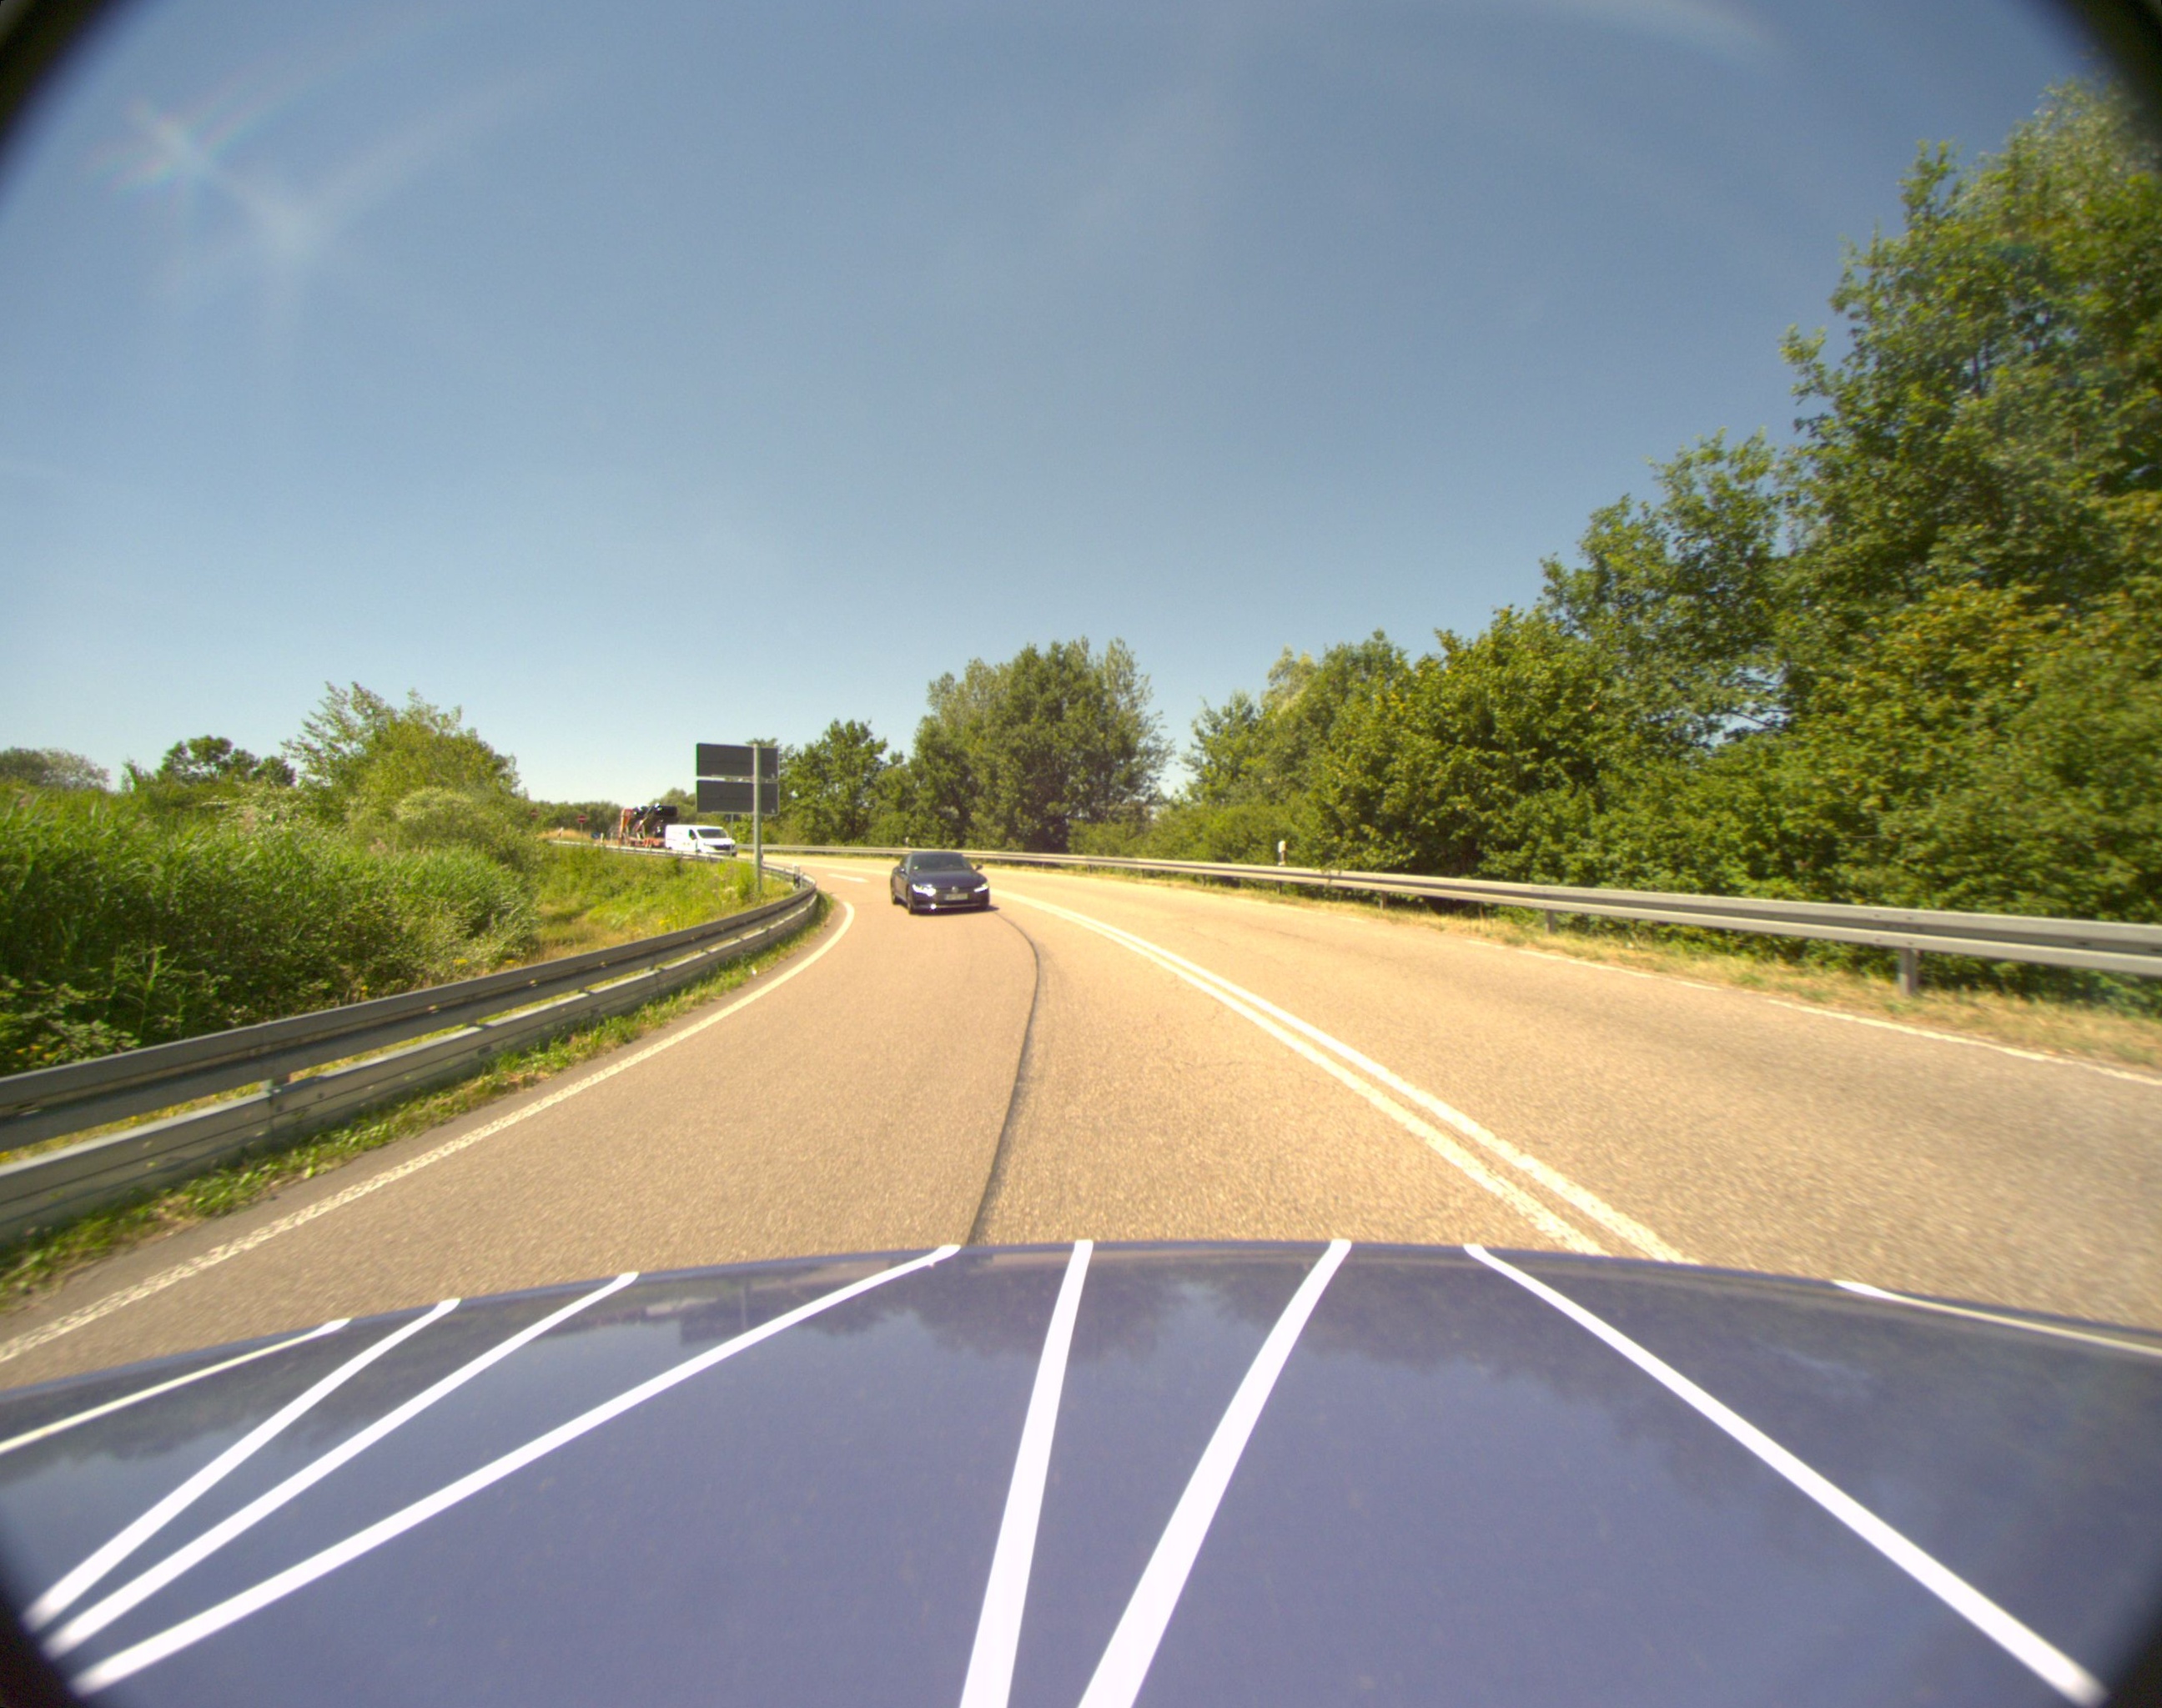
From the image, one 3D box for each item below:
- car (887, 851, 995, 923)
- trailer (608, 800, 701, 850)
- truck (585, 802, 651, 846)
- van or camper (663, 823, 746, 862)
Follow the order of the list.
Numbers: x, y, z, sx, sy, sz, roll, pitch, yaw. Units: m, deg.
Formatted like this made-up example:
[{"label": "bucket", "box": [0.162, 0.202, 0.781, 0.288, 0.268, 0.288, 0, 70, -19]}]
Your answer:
[{"label": "car", "box": [-3.632, 0.713, 19.047, 1.846, 1.422, 4.525, -4, 2, -20]}, {"label": "trailer", "box": [-36.718, -2.555, 65.011, 13.941, 3.877, 2.807, 3, 4, 43]}, {"label": "truck", "box": [-43.570, -2.842, 71.387, 8.751, 3.877, 2.804, 3, 4, 42]}, {"label": "van or camper", "box": [-21.489, -0.713, 43.281, 5.431, 2.021, 2.013, 2, 4, 38]}]
